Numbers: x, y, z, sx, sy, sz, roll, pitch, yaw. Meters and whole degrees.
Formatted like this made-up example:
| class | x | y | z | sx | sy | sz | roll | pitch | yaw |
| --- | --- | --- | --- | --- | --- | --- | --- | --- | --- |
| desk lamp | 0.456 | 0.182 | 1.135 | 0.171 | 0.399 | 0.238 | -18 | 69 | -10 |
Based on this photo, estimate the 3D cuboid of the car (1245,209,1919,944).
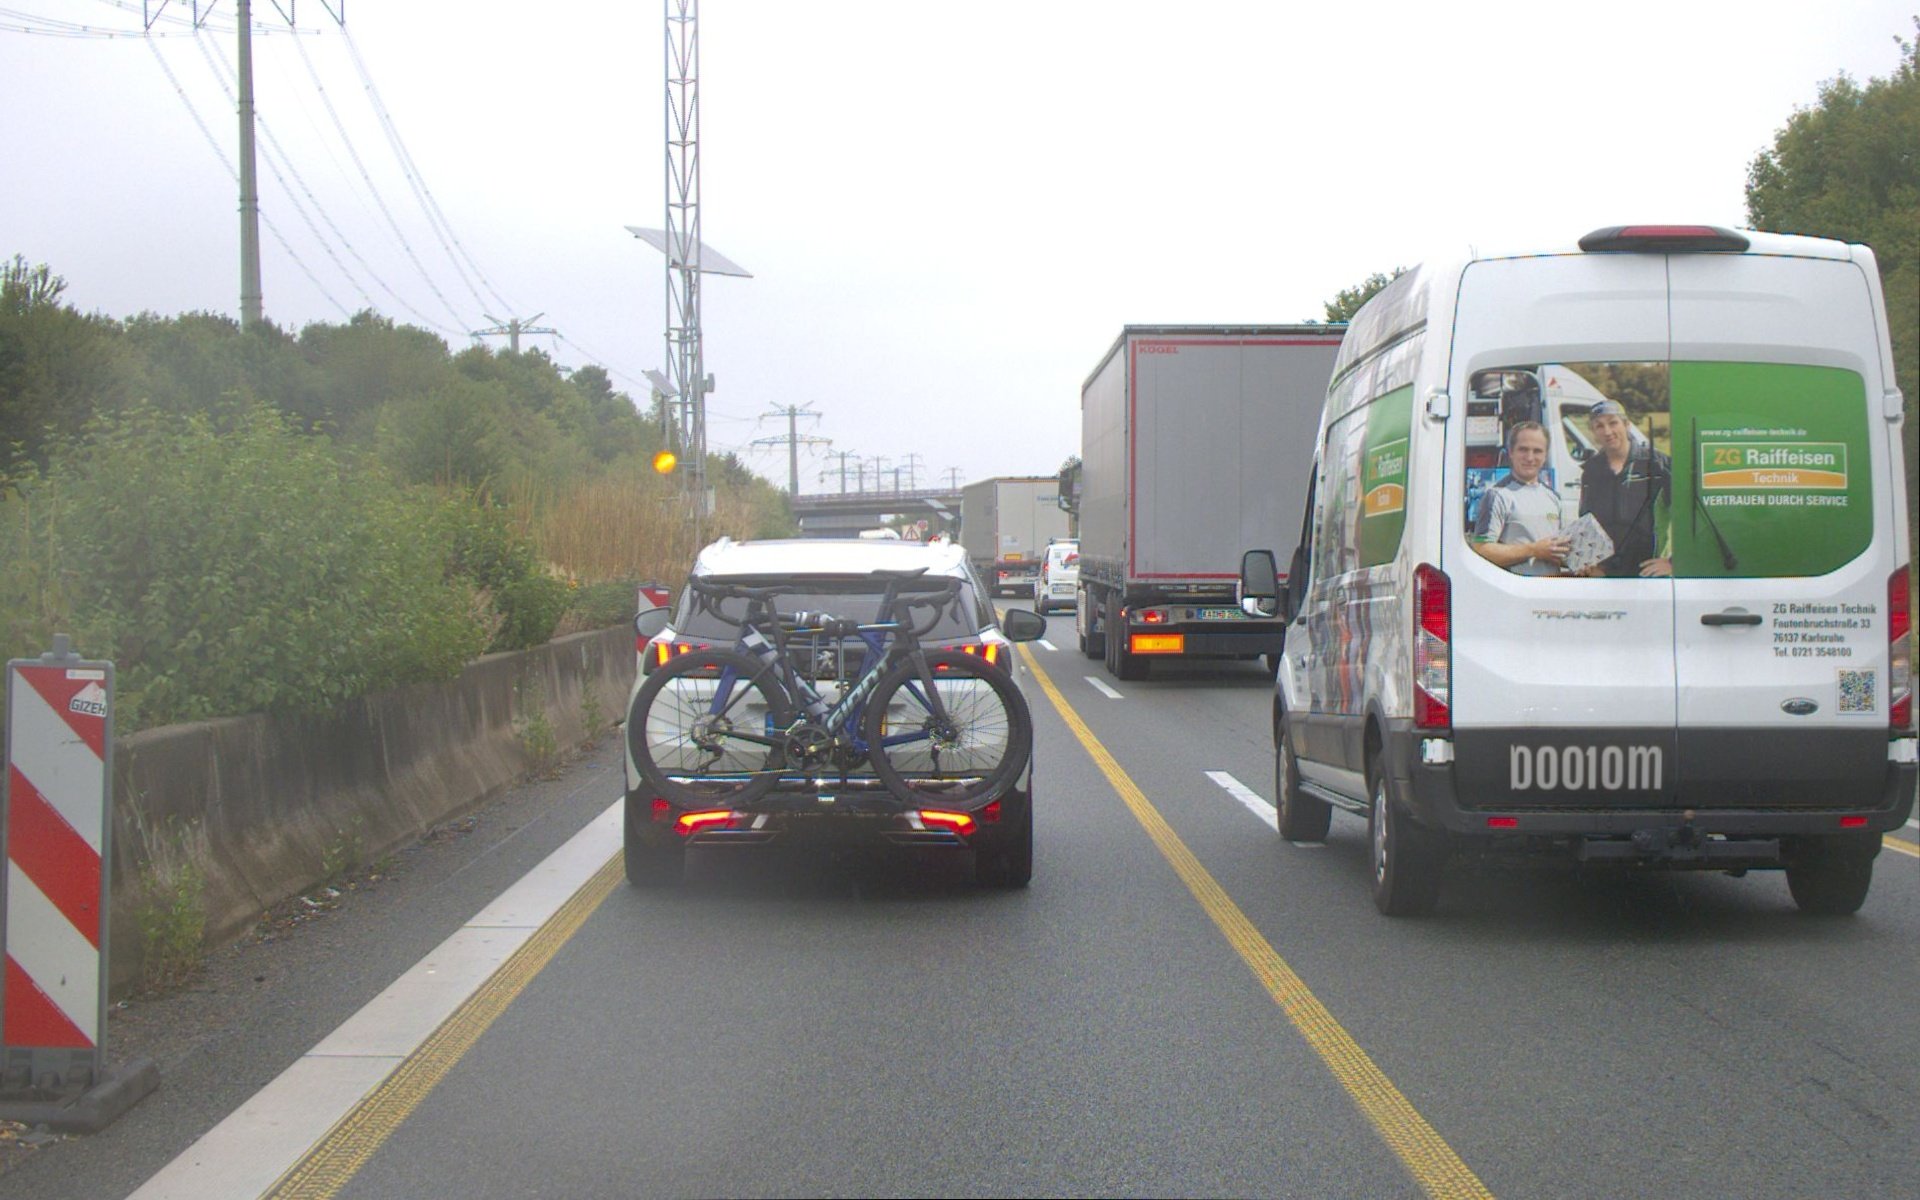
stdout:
| class | x | y | z | sx | sy | sz | roll | pitch | yaw |
| --- | --- | --- | --- | --- | --- | --- | --- | --- | --- |
| car | 2.625 | -0.138 | 15.865 | 1.993 | 2.773 | 5.757 | 0 | 1 | -2 |

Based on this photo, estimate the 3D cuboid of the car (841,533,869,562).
| class | x | y | z | sx | sy | sz | roll | pitch | yaw |
| --- | --- | --- | --- | --- | --- | --- | --- | --- | --- |
| car | -7.527 | -3.754 | 246.066 | 1.931 | 1.966 | 4.001 | 0 | 2 | -1 |

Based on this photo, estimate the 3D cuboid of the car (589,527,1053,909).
| class | x | y | z | sx | sy | sz | roll | pitch | yaw |
| --- | --- | --- | --- | --- | --- | --- | --- | --- | --- |
| car | -0.587 | 0.435 | 16.142 | 1.850 | 1.525 | 4.769 | 0 | 1 | -1 |

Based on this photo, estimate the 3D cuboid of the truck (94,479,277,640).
| class | x | y | z | sx | sy | sz | roll | pitch | yaw |
| --- | --- | --- | --- | --- | --- | --- | --- | --- | --- |
| truck | -16.794 | -0.888 | 74.959 | 2.261 | 3.217 | 7.052 | -3 | 1 | 0 |

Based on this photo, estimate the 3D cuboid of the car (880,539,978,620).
| class | x | y | z | sx | sy | sz | roll | pitch | yaw |
| --- | --- | --- | --- | --- | --- | --- | --- | --- | --- |
| car | -0.613 | -0.426 | 67.444 | 1.850 | 1.525 | 4.000 | 0 | 1 | -1 |

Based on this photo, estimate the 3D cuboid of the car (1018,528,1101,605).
| class | x | y | z | sx | sy | sz | roll | pitch | yaw |
| --- | --- | --- | --- | --- | --- | --- | --- | --- | --- |
| car | 2.431 | -0.850 | 84.748 | 1.829 | 1.833 | 4.656 | 0 | 1 | -1 |

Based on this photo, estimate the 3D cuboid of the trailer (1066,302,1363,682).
| class | x | y | z | sx | sy | sz | roll | pitch | yaw |
| --- | --- | --- | --- | --- | --- | --- | --- | --- | --- |
| trailer | 2.979 | -1.283 | 44.293 | 2.706 | 4.132 | 13.733 | 0 | 1 | 0 |

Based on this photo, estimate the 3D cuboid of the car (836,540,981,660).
| class | x | y | z | sx | sy | sz | roll | pitch | yaw |
| --- | --- | --- | --- | --- | --- | --- | --- | --- | --- |
| car | -0.688 | -0.031 | 46.117 | 1.850 | 1.525 | 4.000 | 0 | 1 | -1 |

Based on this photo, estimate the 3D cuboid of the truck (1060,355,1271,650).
| class | x | y | z | sx | sy | sz | roll | pitch | yaw |
| --- | --- | --- | --- | --- | --- | --- | --- | --- | --- |
| truck | 2.968 | -1.413 | 51.055 | 2.706 | 4.124 | 5.691 | 0 | 1 | -1 |

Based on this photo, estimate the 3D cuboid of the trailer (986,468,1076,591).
| class | x | y | z | sx | sy | sz | roll | pitch | yaw |
| --- | --- | --- | --- | --- | --- | --- | --- | --- | --- |
| trailer | 2.402 | -2.444 | 120.658 | 2.692 | 4.062 | 13.634 | 0 | 1 | -1 |
